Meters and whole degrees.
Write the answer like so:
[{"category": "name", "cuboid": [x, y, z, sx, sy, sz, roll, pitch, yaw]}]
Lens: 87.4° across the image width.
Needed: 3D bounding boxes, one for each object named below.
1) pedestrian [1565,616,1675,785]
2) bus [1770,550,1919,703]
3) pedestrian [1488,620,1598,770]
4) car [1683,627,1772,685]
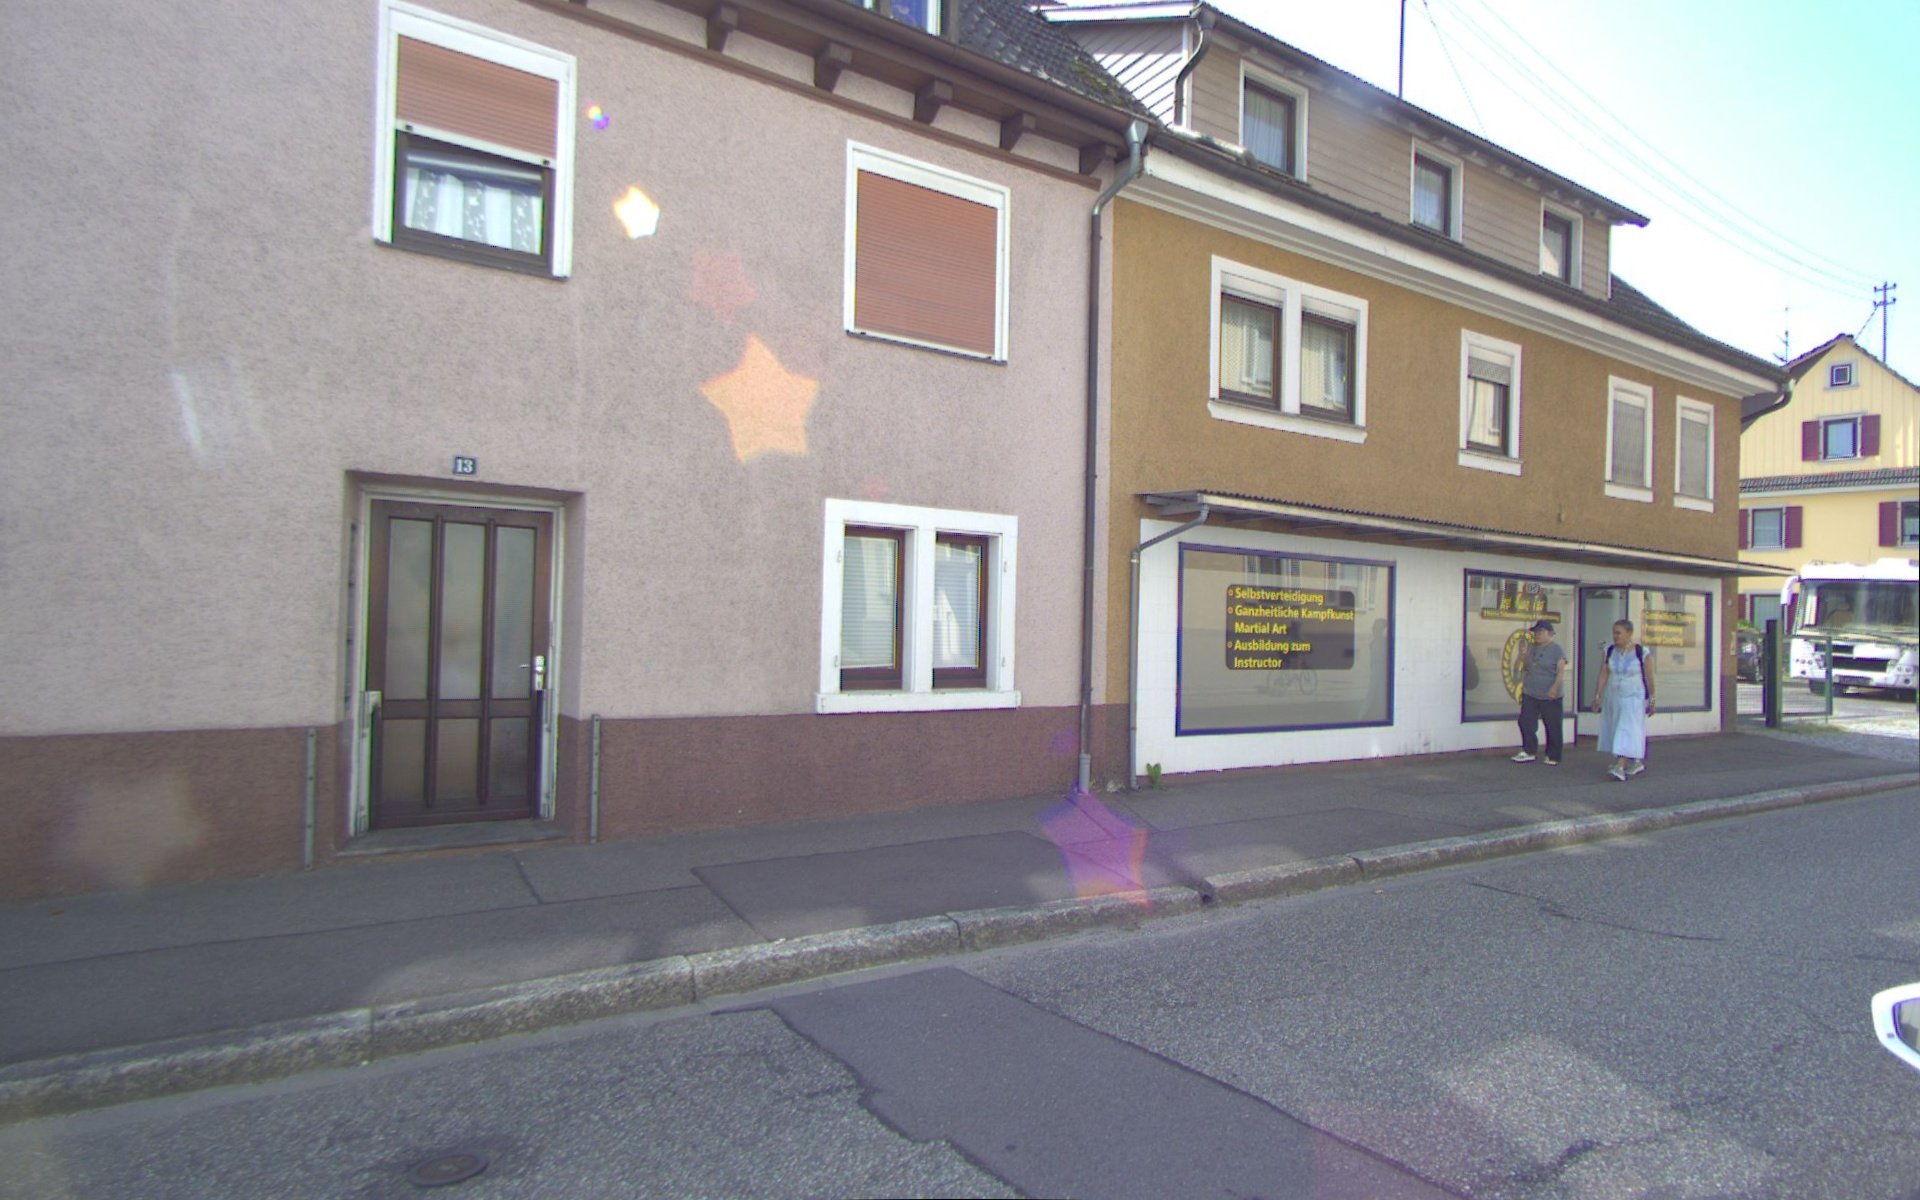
[{"category": "pedestrian", "cuboid": [6.841, 1.011, 10.414, 0.768, 1.648, 0.636, 1, 1, -30]}, {"category": "bus", "cuboid": [23.623, 0.652, 25.006, 8.941, 3.271, 2.803, 2, 0, -34]}, {"category": "pedestrian", "cuboid": [6.572, 1.038, 11.329, 0.815, 1.585, 0.731, 1, 1, -30]}, {"category": "car", "cuboid": [21.677, 1.532, 28.313, 1.745, 1.451, 3.980, 2, 0, 41]}]
